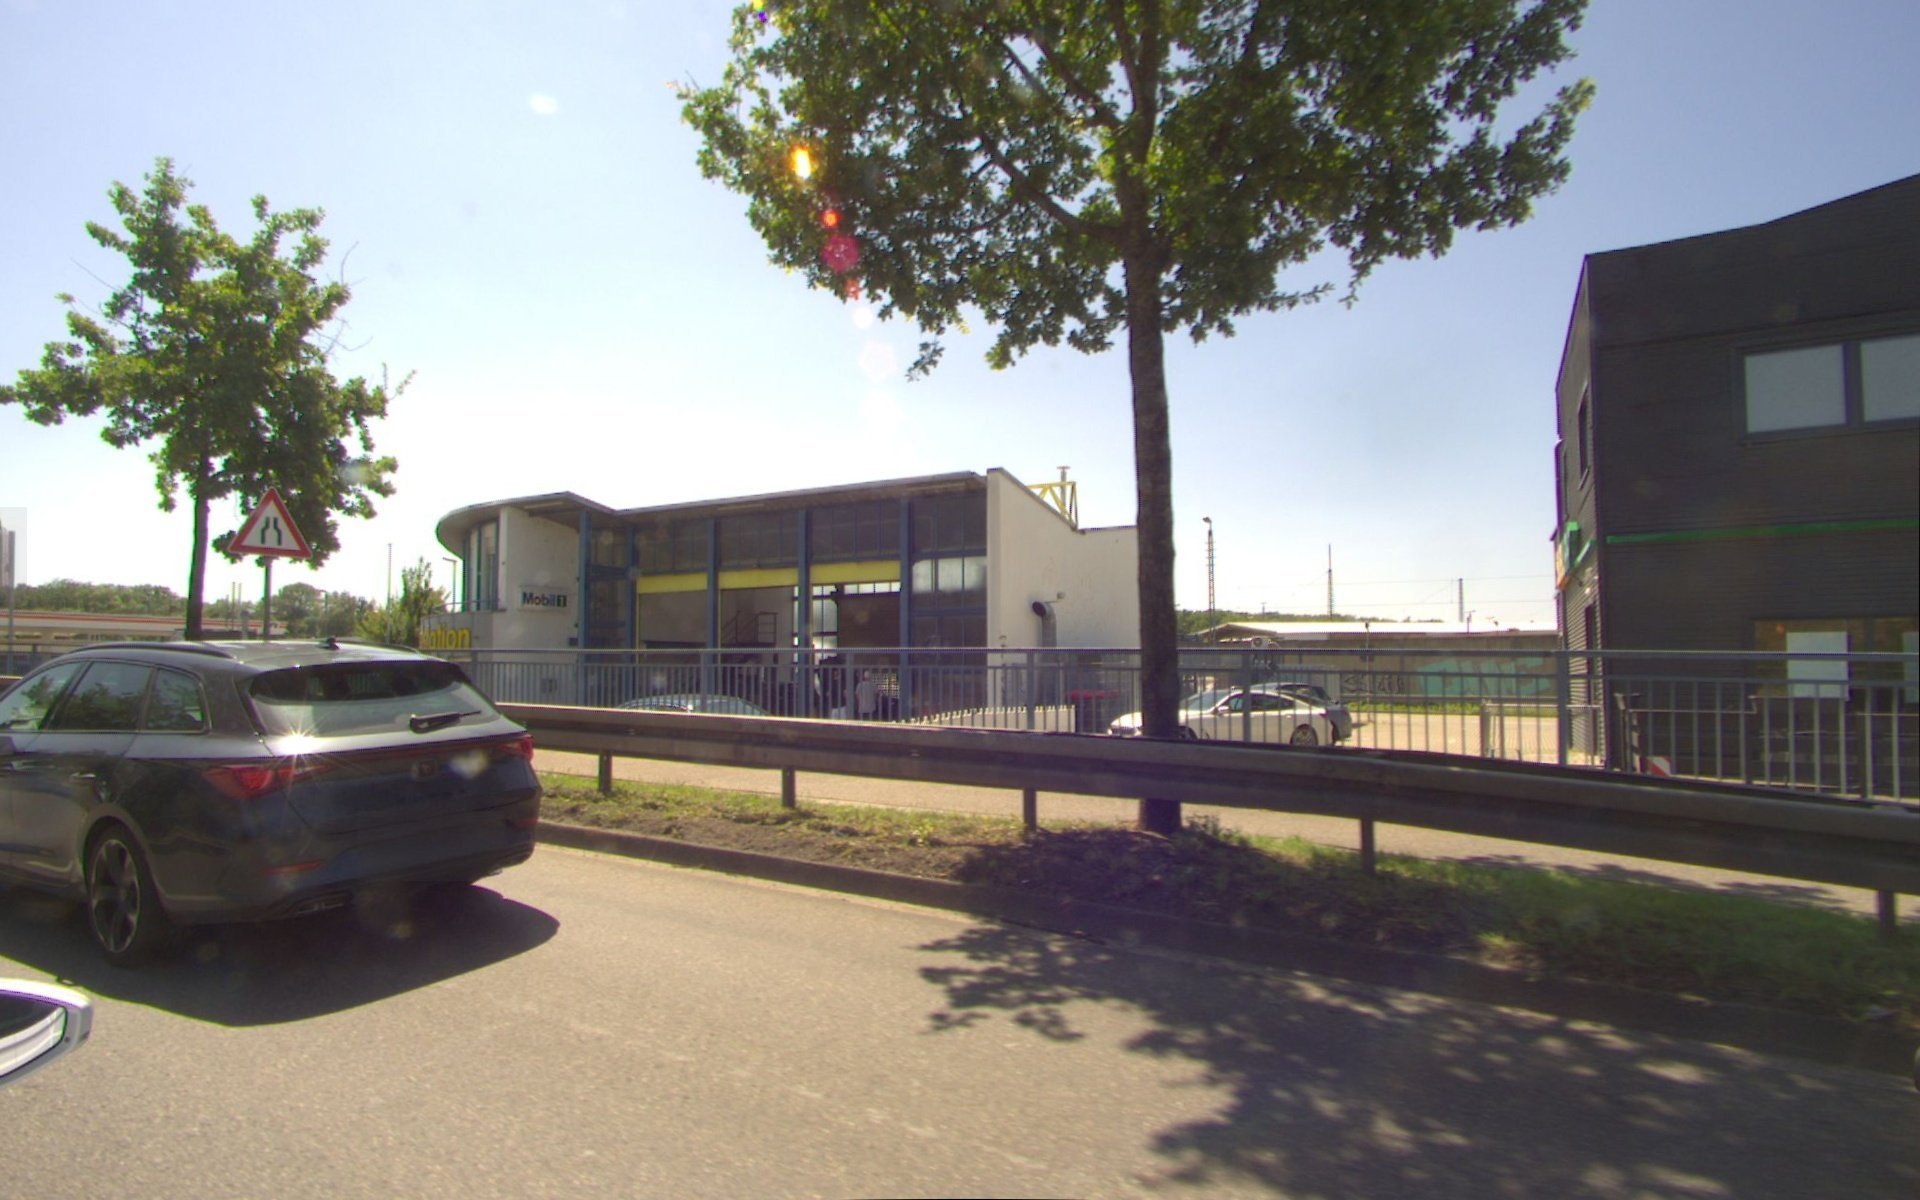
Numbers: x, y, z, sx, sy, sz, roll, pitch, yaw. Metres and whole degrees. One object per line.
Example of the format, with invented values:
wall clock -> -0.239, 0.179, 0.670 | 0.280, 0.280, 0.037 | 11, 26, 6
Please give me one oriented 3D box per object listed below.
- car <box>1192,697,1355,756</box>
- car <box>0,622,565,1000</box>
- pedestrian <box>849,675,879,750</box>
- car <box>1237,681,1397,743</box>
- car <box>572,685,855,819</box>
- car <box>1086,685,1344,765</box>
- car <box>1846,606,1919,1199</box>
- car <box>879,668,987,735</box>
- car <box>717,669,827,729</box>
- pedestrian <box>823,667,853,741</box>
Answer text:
car -> 7.660, 3.071, 24.539 | 3.547, 1.268, 1.479 | 1, -3, -13
car -> -4.311, 0.921, 5.674 | 4.172, 1.474, 1.604 | -2, -3, 30
pedestrian -> -2.276, 2.661, 23.808 | 0.580, 1.724, 0.426 | -1, -2, 29
car -> 10.276, 3.181, 28.836 | 4.327, 1.578, 1.652 | 1, -3, -22
car -> -3.499, 2.028, 14.094 | 3.843, 1.551, 1.631 | -2, -3, 31
car -> 5.306, 2.535, 20.866 | 4.999, 1.374, 1.995 | 1, -3, -22
car -> 3.623, 0.714, 1.030 | 3.837, 1.462, 1.643 | -1, -2, 34
car -> -0.703, 2.829, 28.540 | 1.624, 1.705, 3.670 | -1, -3, 25
car -> -5.852, 3.066, 31.595 | 1.624, 1.705, 3.671 | -1, -3, 24
pedestrian -> -2.927, 2.486, 24.041 | 0.481, 1.724, 0.521 | -1, -2, 30
